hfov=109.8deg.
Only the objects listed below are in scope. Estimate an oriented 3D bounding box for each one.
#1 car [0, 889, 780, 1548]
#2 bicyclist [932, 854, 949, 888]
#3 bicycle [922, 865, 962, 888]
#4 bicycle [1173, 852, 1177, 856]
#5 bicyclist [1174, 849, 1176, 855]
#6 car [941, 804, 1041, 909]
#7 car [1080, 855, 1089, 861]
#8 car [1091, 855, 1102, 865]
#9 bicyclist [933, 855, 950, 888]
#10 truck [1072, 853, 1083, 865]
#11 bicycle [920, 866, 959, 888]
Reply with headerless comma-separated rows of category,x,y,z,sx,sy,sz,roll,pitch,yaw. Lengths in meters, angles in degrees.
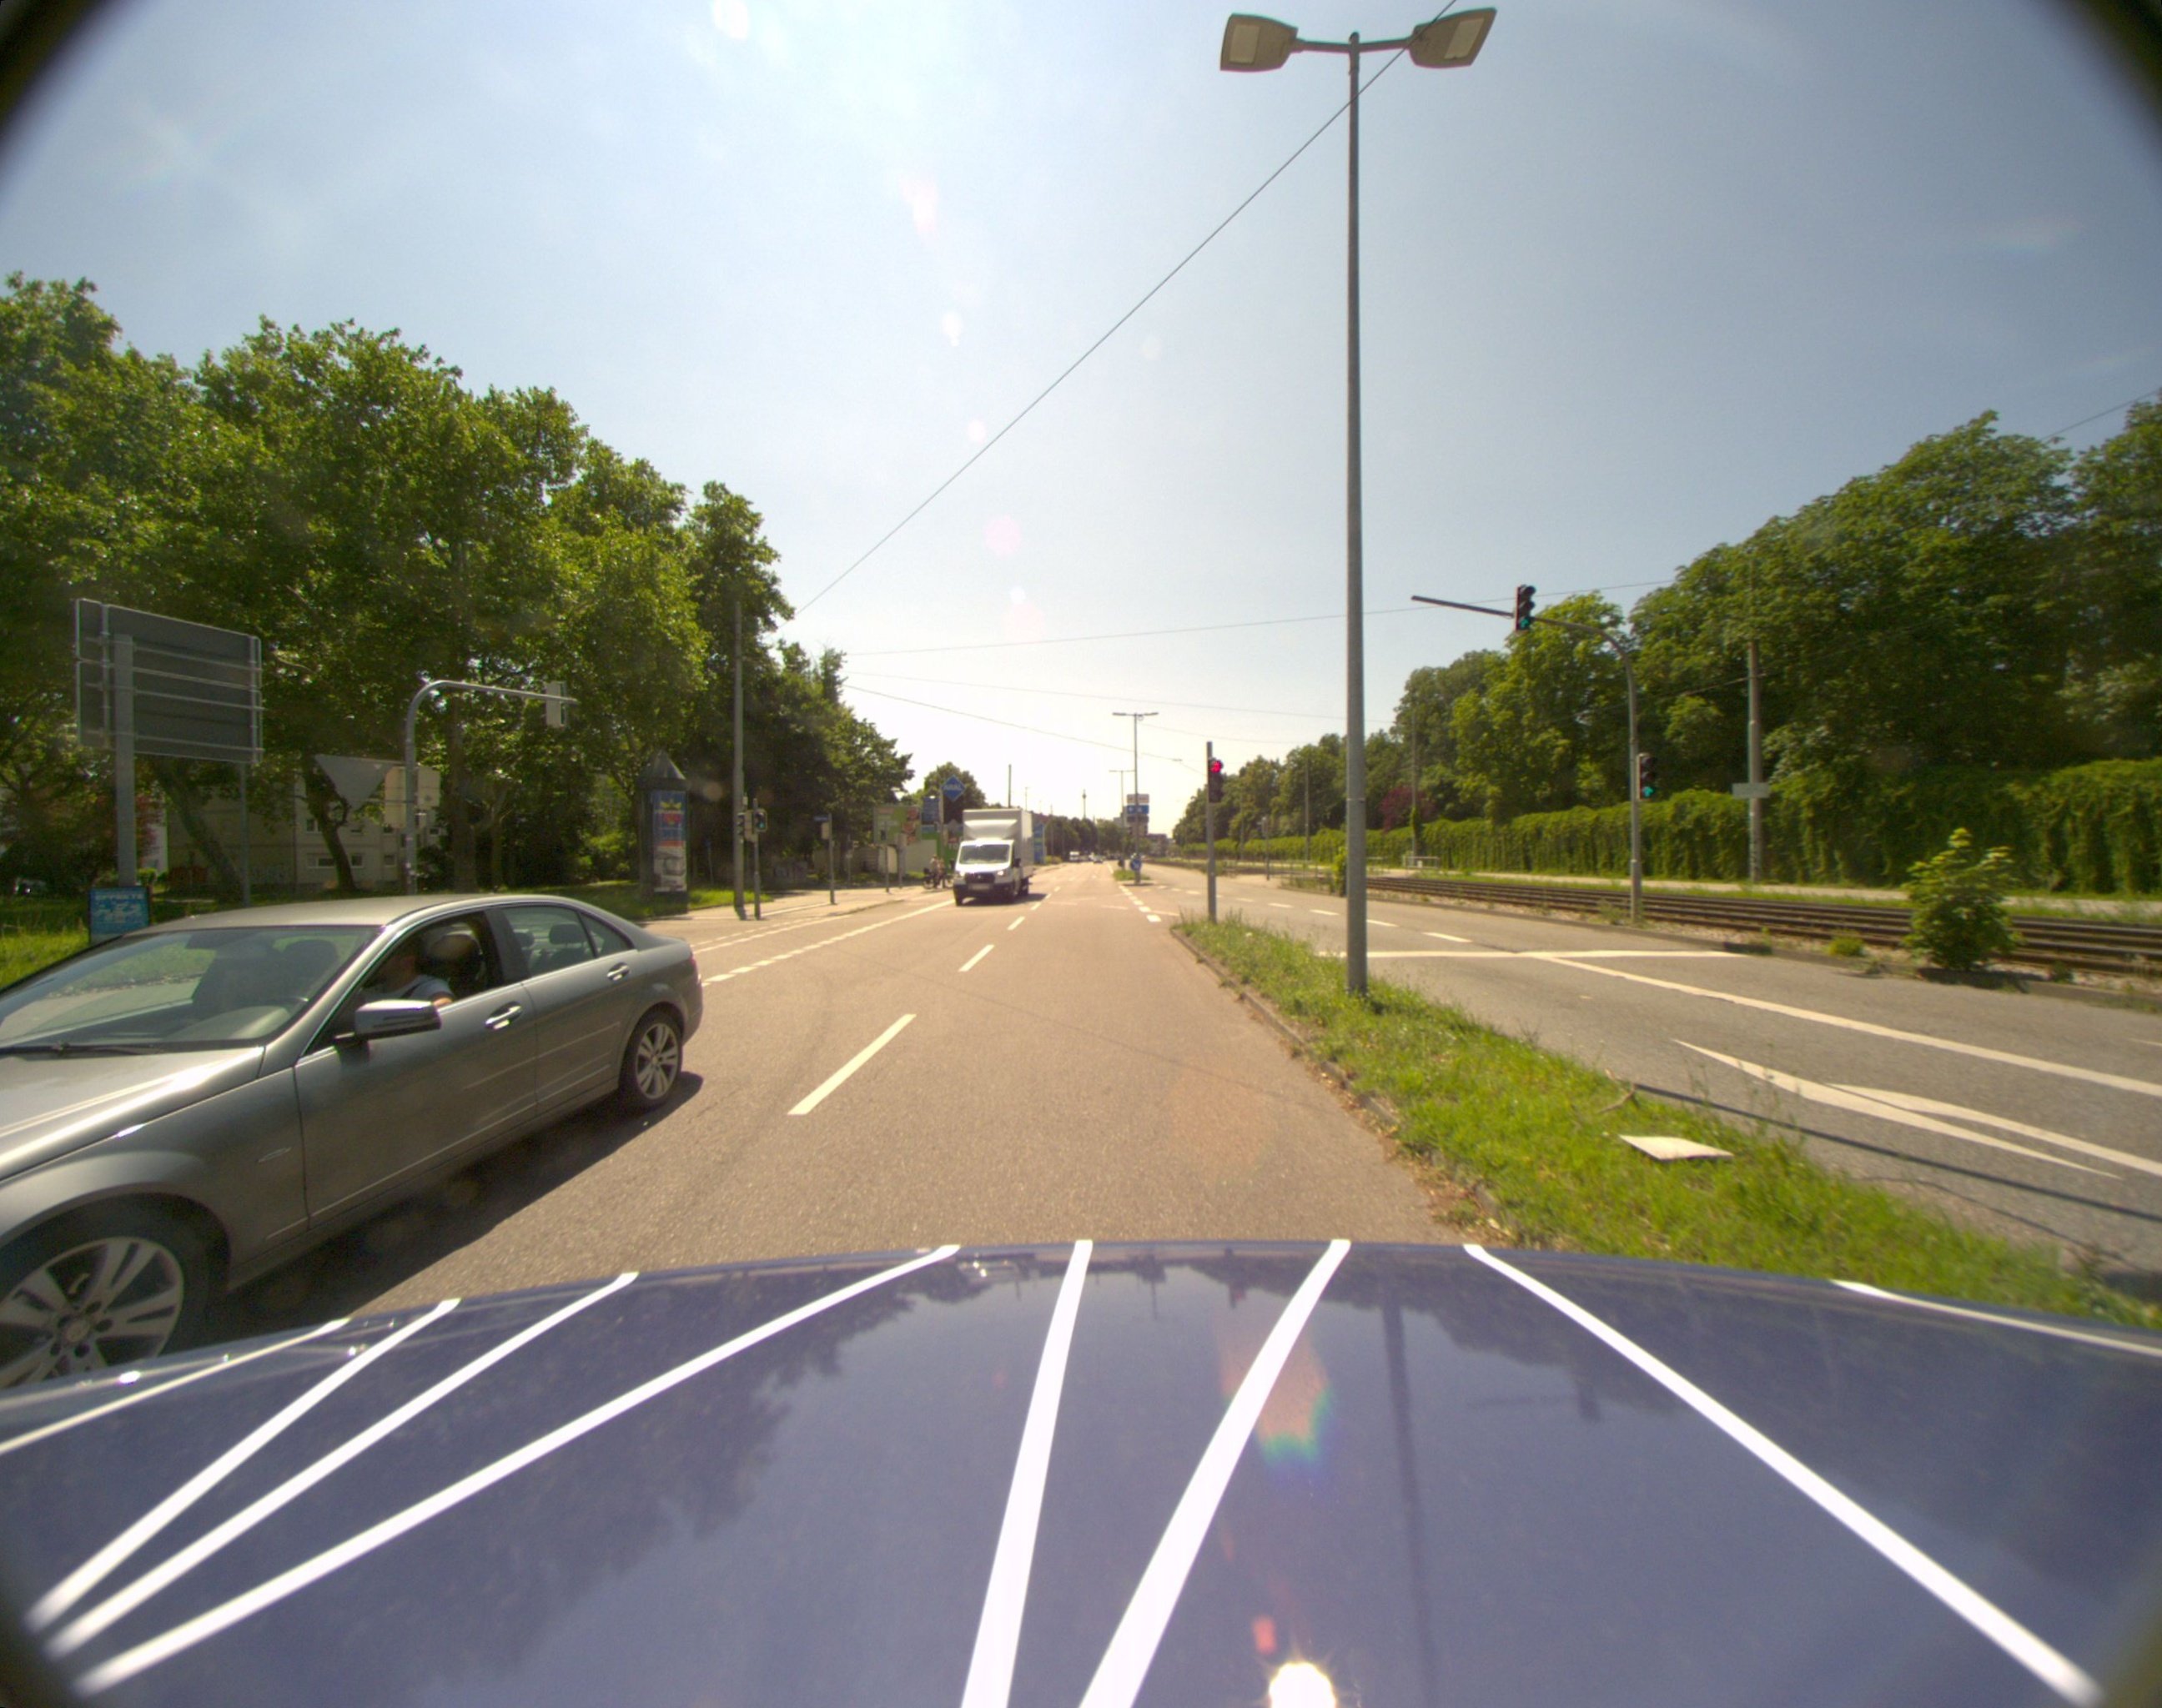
car,-3.558,1.068,3.914,1.717,1.464,5.302,-3,0,1
bicyclist,-7.432,0.899,40.344,0.726,1.777,0.976,-2,1,-3
bicycle,-7.386,1.193,40.343,1.955,1.152,0.894,-2,1,-3
bicycle,23.379,0.049,188.958,0.617,1.049,1.978,-3,1,3
bicyclist,23.350,-0.504,188.789,0.483,1.603,0.769,-3,1,3
car,-3.115,0.042,28.797,2.229,3.316,8.636,-2,1,3
car,0.904,0.978,196.417,1.912,1.488,4.001,-3,1,5
car,3.018,1.134,147.270,1.947,1.674,4.000,-3,1,1
bicyclist,-7.628,0.964,41.596,0.578,1.777,0.768,-3,1,9
truck,-0.746,1.009,169.748,1.998,2.461,5.237,-3,1,2
bicycle,-7.777,1.268,41.664,1.870,1.118,0.895,-2,1,9
